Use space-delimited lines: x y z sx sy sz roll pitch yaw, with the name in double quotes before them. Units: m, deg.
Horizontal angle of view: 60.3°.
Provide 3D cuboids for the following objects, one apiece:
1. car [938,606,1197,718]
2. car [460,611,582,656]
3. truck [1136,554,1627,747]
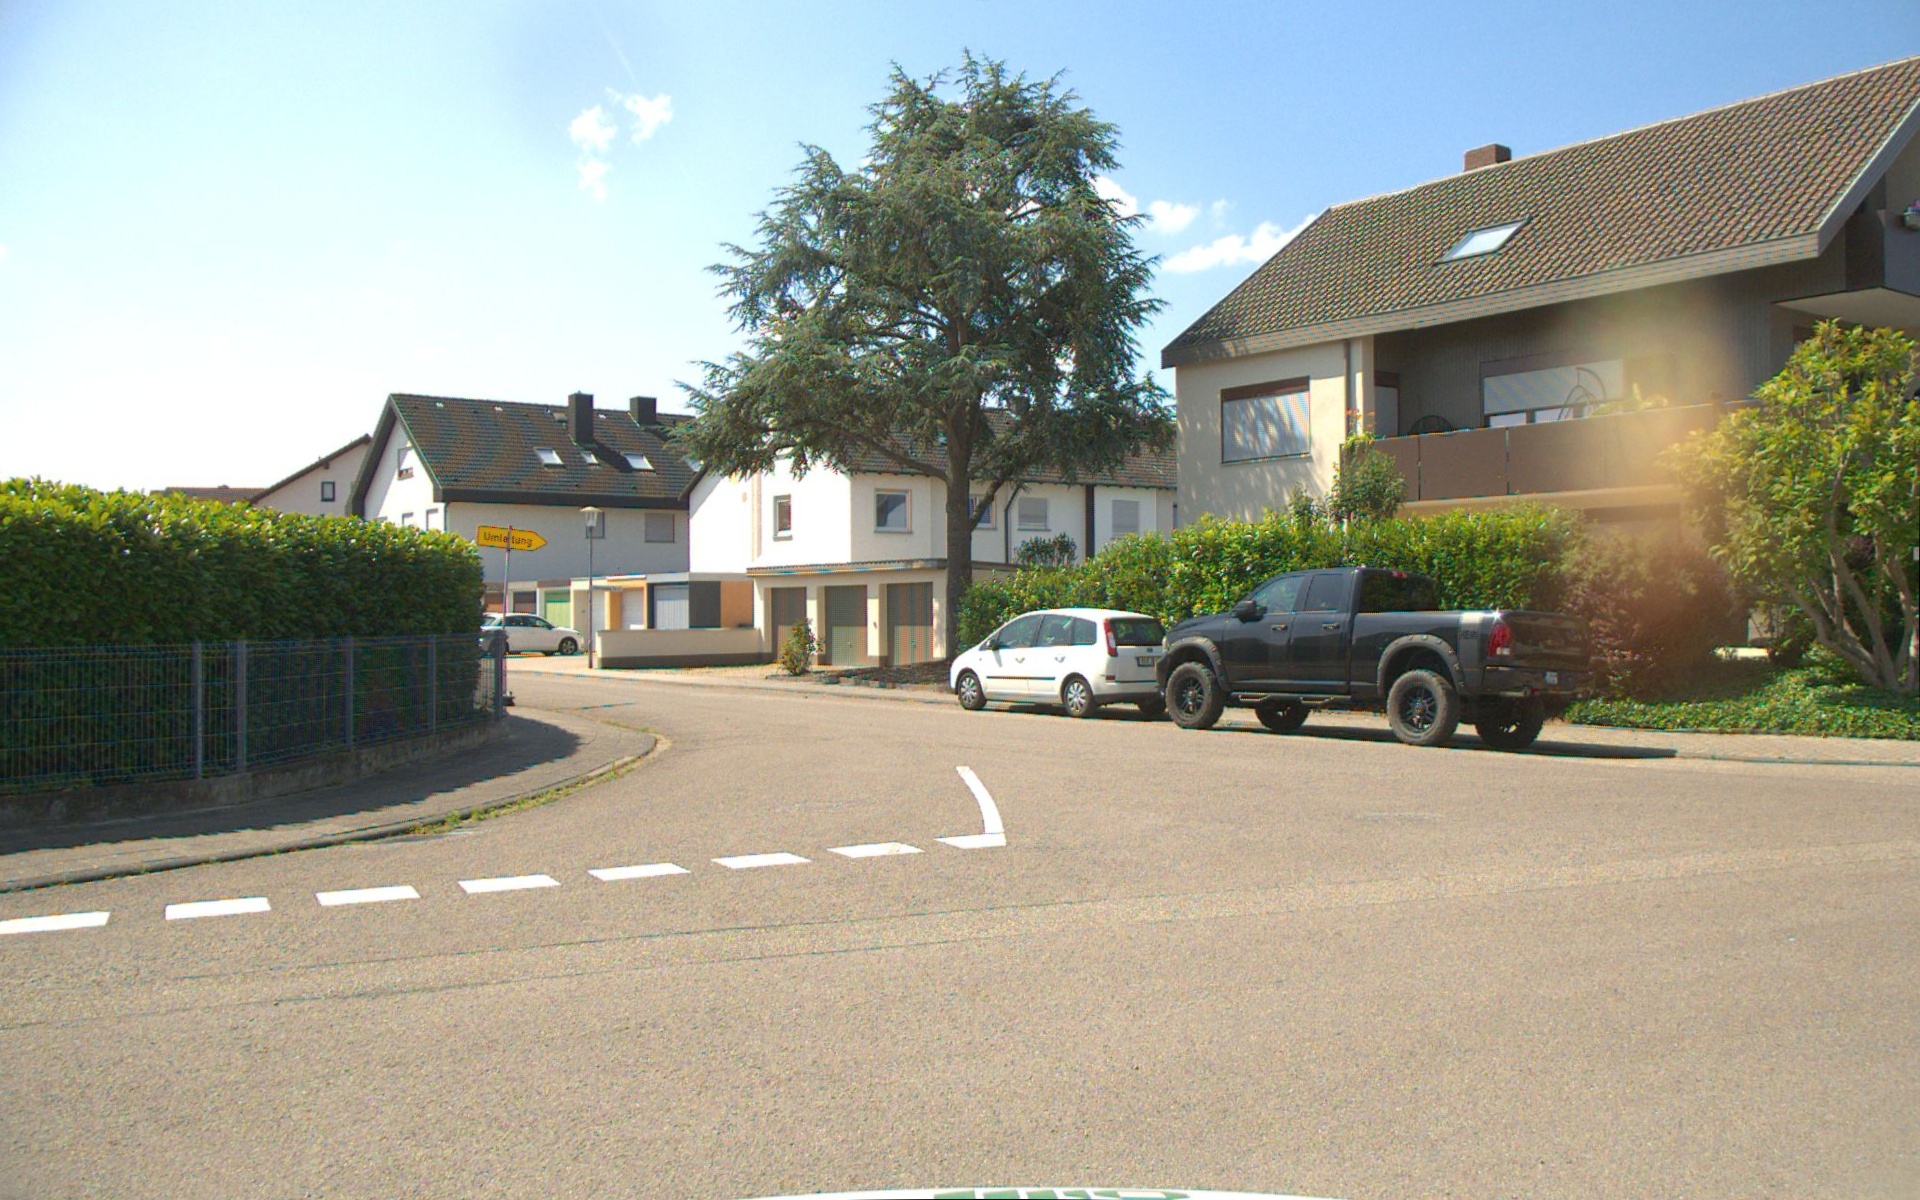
"car" 1.605 0.910 25.903 1.786 1.590 4.084 0 -1 -39
"car" -14.622 1.109 55.159 3.573 1.433 1.760 0 -1 -38
"truck" 5.037 0.620 20.544 2.349 2.049 5.629 3 -3 -40
